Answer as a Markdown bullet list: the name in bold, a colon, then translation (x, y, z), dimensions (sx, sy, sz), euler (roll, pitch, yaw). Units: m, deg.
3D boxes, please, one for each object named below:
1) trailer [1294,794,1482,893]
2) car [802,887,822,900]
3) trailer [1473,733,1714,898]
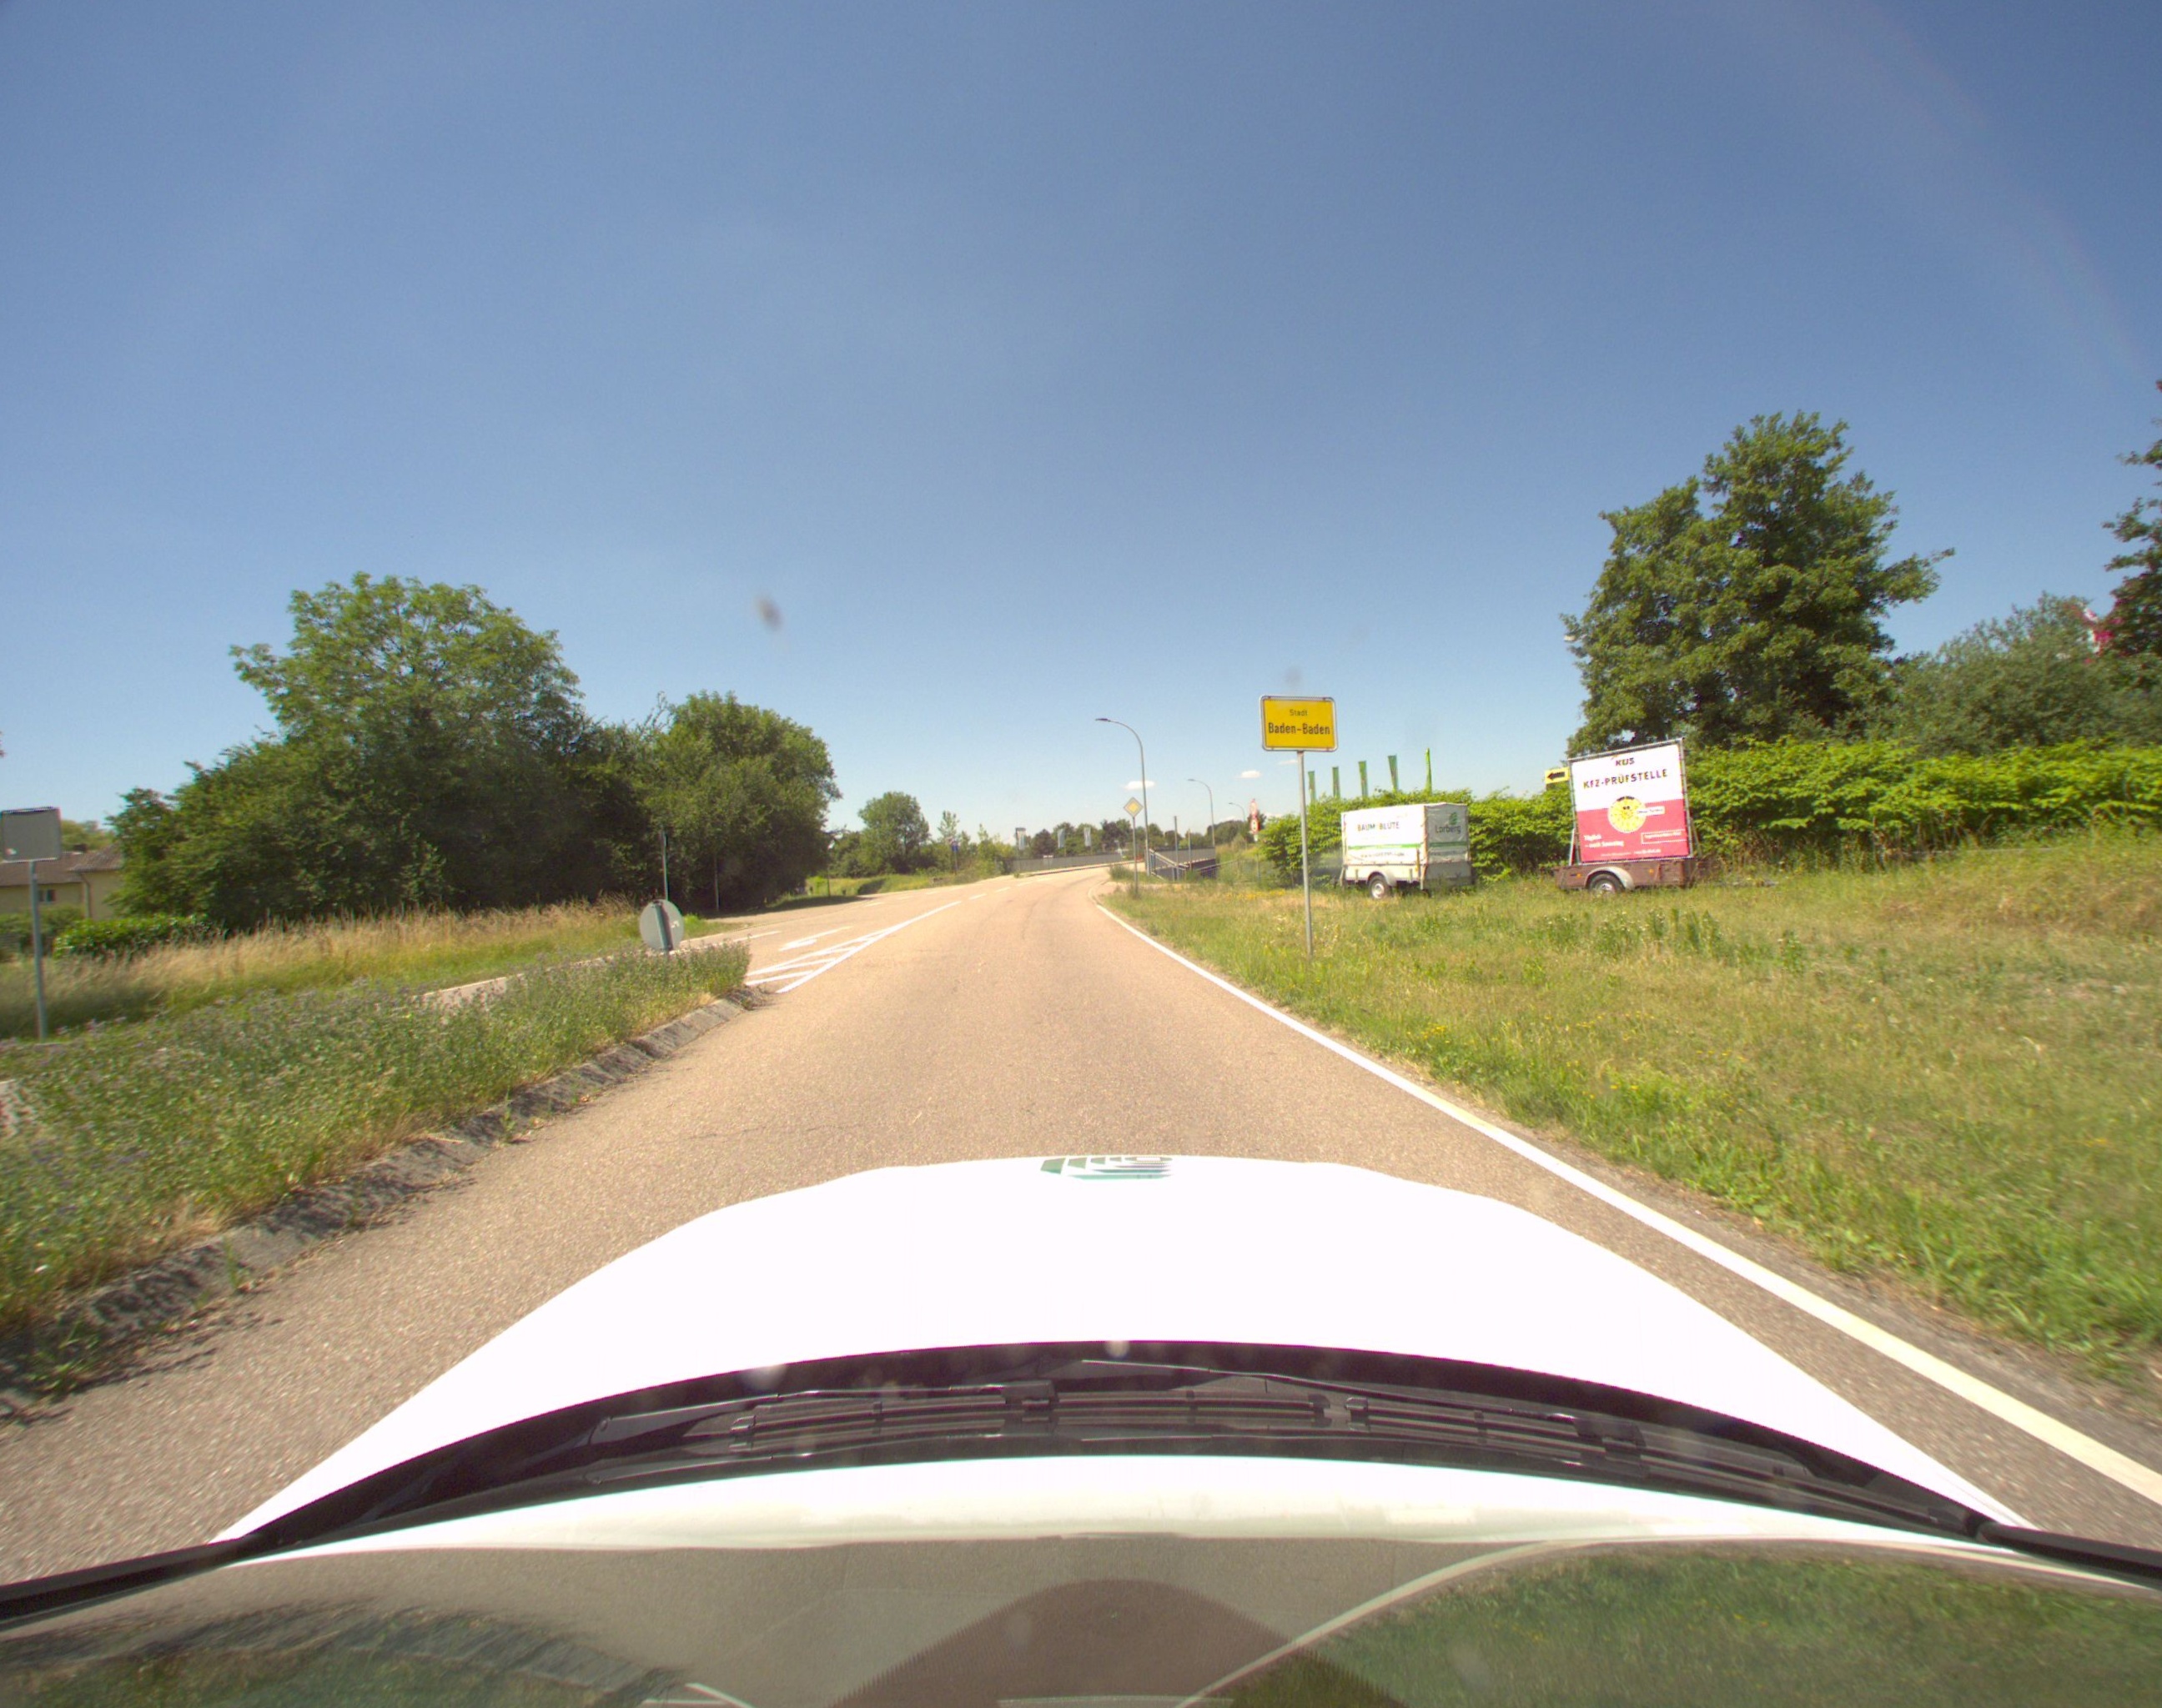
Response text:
- **trailer**: translation (7.174, -0.186, 19.446), dimensions (1.855, 2.078, 3.936), euler (-3, -1, -25)
- **car**: translation (-38.595, 5.695, 116.745), dimensions (2.005, 1.596, 3.963), euler (-4, -1, -28)
- **trailer**: translation (9.275, -0.617, 14.973), dimensions (1.855, 2.670, 3.121), euler (-3, -1, -26)
